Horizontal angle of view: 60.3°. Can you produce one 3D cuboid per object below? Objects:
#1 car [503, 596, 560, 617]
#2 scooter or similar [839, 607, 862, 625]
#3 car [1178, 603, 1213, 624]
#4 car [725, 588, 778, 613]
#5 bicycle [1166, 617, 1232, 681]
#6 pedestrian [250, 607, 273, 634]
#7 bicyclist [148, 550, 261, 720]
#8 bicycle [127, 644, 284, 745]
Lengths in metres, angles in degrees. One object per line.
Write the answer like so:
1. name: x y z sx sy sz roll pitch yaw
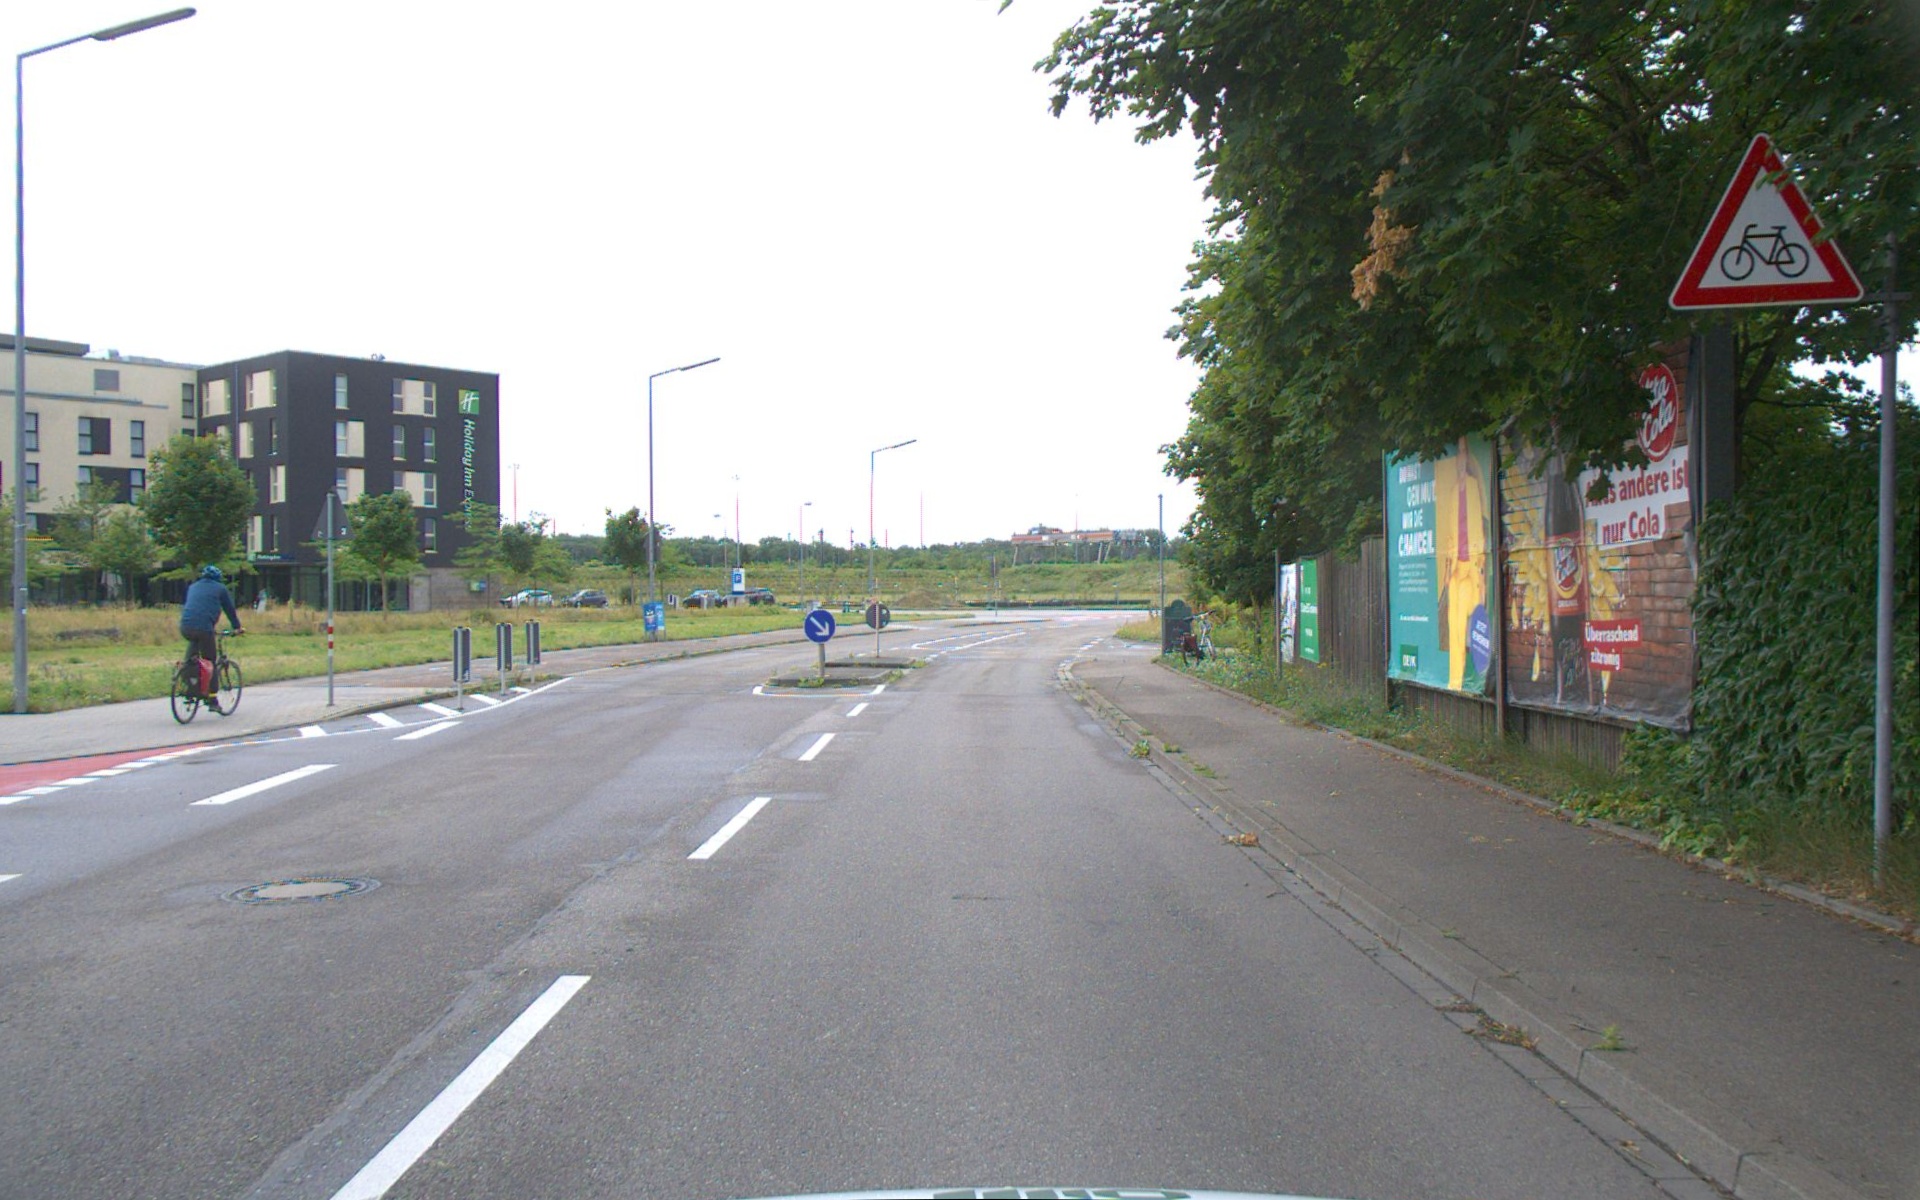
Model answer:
1. car: -33.874 0.529 130.903 1.958 1.544 4.143 0 1 32
2. scooter or similar: -7.245 1.072 109.270 1.431 1.188 0.572 0 0 15
3. car: 17.359 0.975 121.886 1.637 1.487 4.056 1 1 21
4. car: -16.273 0.057 129.221 3.928 1.854 1.989 0 1 41
5. bicycle: 4.537 0.916 31.284 0.779 1.130 1.952 -1 0 22
6. pedestrian: -42.346 1.248 100.305 0.931 1.598 0.875 -1 1 23
7. bicyclist: -9.394 0.414 20.622 0.844 2.049 1.177 -1 1 -2
8. bicycle: -9.379 1.143 20.686 0.866 1.070 2.468 -1 1 -2
